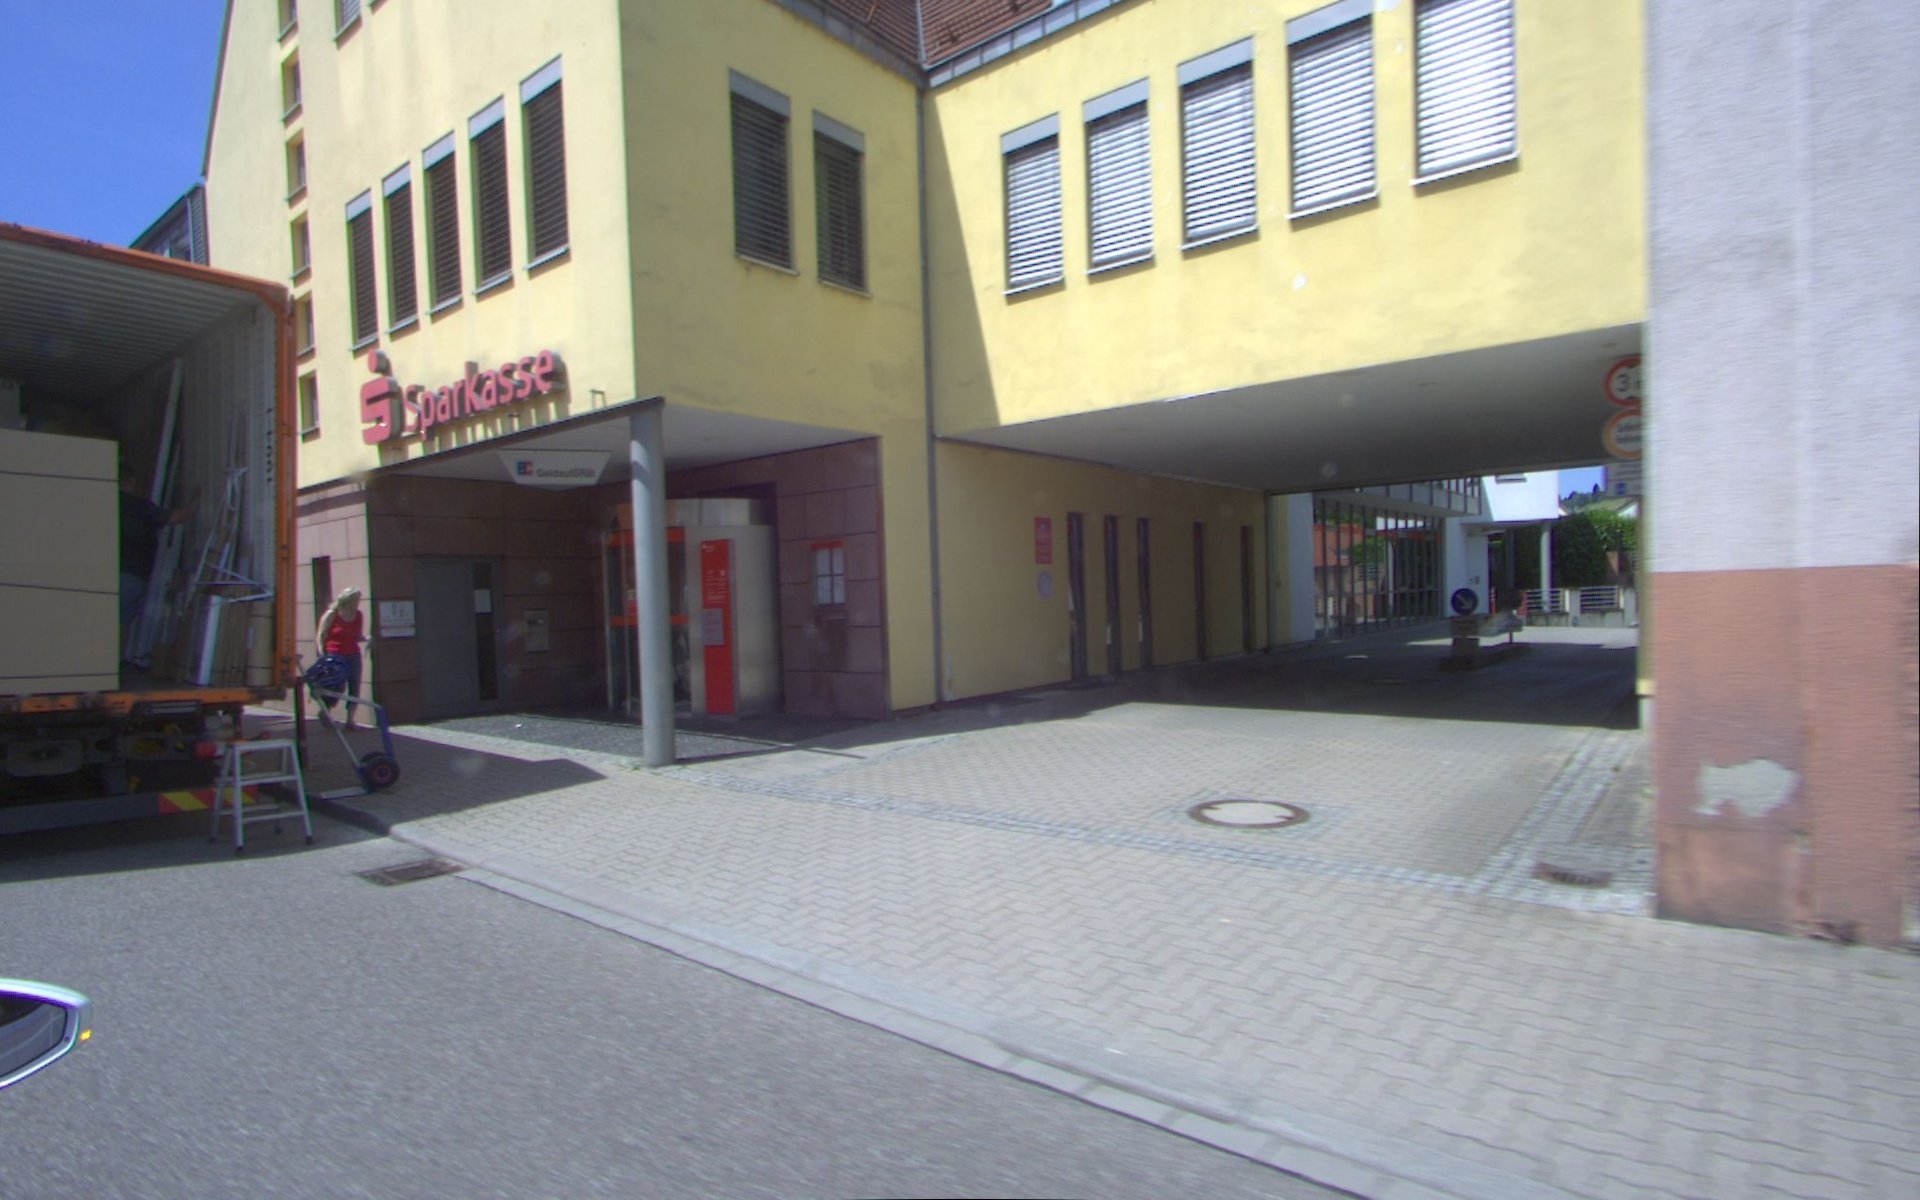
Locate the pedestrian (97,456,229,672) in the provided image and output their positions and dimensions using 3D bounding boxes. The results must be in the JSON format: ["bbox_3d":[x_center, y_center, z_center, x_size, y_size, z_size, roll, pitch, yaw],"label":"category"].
[{"bbox_3d":[-7.040,-0.277,8.841,0.916,1.779,0.746,-1,-1,40],"label":"pedestrian"}]

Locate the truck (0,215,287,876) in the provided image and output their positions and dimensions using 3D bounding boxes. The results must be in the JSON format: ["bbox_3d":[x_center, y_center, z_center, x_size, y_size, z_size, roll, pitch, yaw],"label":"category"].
[{"bbox_3d":[-9.369,-0.350,9.503,9.878,3.997,2.595,1,0,42],"label":"truck"}]

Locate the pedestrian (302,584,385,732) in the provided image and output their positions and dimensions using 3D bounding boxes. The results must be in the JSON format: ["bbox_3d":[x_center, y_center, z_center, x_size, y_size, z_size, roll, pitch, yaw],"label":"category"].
[{"bbox_3d":[-7.283,0.672,11.825,0.643,1.674,0.685,-1,-1,42],"label":"pedestrian"}]
